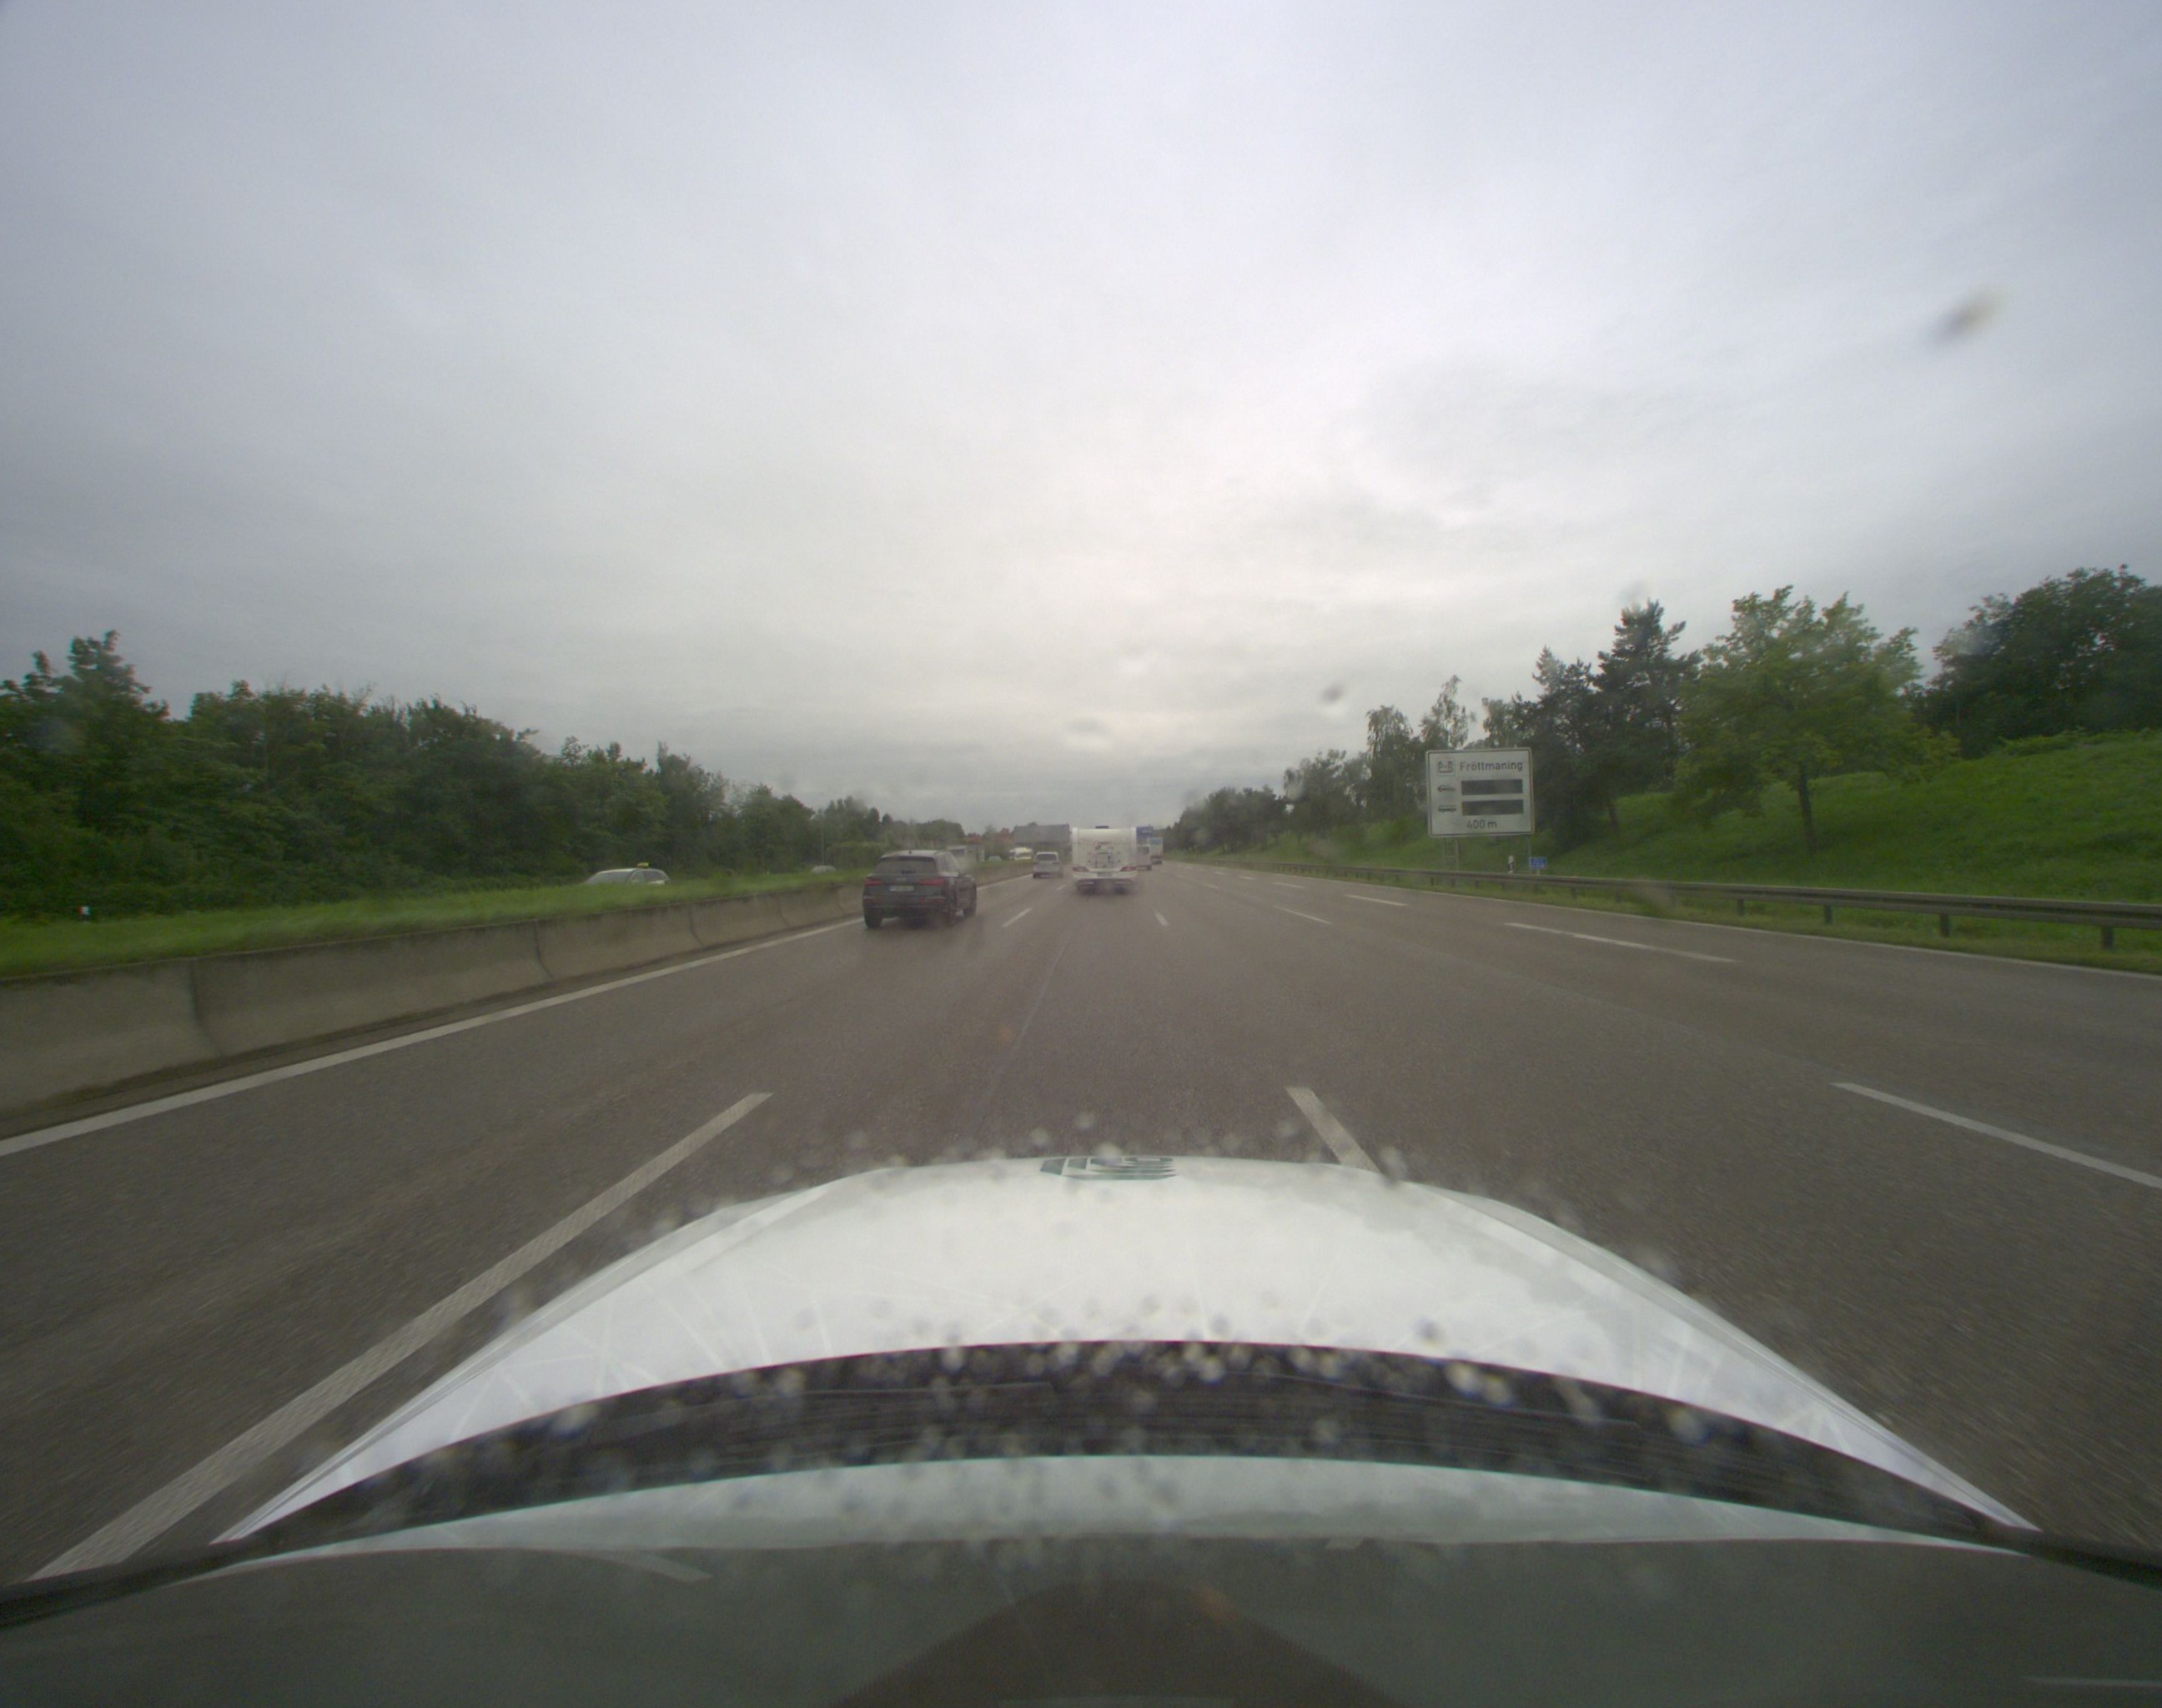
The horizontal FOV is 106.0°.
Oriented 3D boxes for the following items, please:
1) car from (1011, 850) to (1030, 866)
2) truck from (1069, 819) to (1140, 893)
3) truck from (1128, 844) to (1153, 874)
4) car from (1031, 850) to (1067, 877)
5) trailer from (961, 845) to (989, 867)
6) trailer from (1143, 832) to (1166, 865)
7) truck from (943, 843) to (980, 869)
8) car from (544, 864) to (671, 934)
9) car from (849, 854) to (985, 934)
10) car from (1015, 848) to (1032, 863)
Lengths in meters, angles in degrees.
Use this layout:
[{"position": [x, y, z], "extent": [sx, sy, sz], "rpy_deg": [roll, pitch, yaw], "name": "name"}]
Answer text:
[{"position": [-9.224, 0.616, 124.874], "extent": [2.051, 2.385, 7.326], "rpy_deg": [0, 0, 2], "name": "car"}, {"position": [0.928, 0.097, 32.783], "extent": [2.651, 2.742, 5.079], "rpy_deg": [0, 0, 1], "name": "truck"}, {"position": [5.633, 0.444, 77.677], "extent": [2.046, 2.770, 5.550], "rpy_deg": [0, 0, 1], "name": "truck"}, {"position": [-2.069, 0.593, 54.368], "extent": [2.120, 1.706, 4.114], "rpy_deg": [-1, 0, 1], "name": "car"}, {"position": [-15.576, 0.346, 119.733], "extent": [2.766, 3.077, 7.877], "rpy_deg": [0, 0, 2], "name": "trailer"}, {"position": [11.266, -0.787, 125.572], "extent": [3.087, 4.922, 11.798], "rpy_deg": [0, 0, 3], "name": "trailer"}, {"position": [-16.044, 0.285, 110.065], "extent": [2.872, 3.221, 11.365], "rpy_deg": [0, 0, 3], "name": "truck"}, {"position": [-15.012, 1.354, 26.077], "extent": [1.614, 2.014, 4.002], "rpy_deg": [-1, 0, 2], "name": "car"}, {"position": [-3.599, 0.828, 18.914], "extent": [1.986, 1.600, 5.124], "rpy_deg": [0, 0, 1], "name": "car"}, {"position": [-10.677, 0.291, 151.708], "extent": [2.312, 2.734, 7.320], "rpy_deg": [0, 0, 3], "name": "car"}]
